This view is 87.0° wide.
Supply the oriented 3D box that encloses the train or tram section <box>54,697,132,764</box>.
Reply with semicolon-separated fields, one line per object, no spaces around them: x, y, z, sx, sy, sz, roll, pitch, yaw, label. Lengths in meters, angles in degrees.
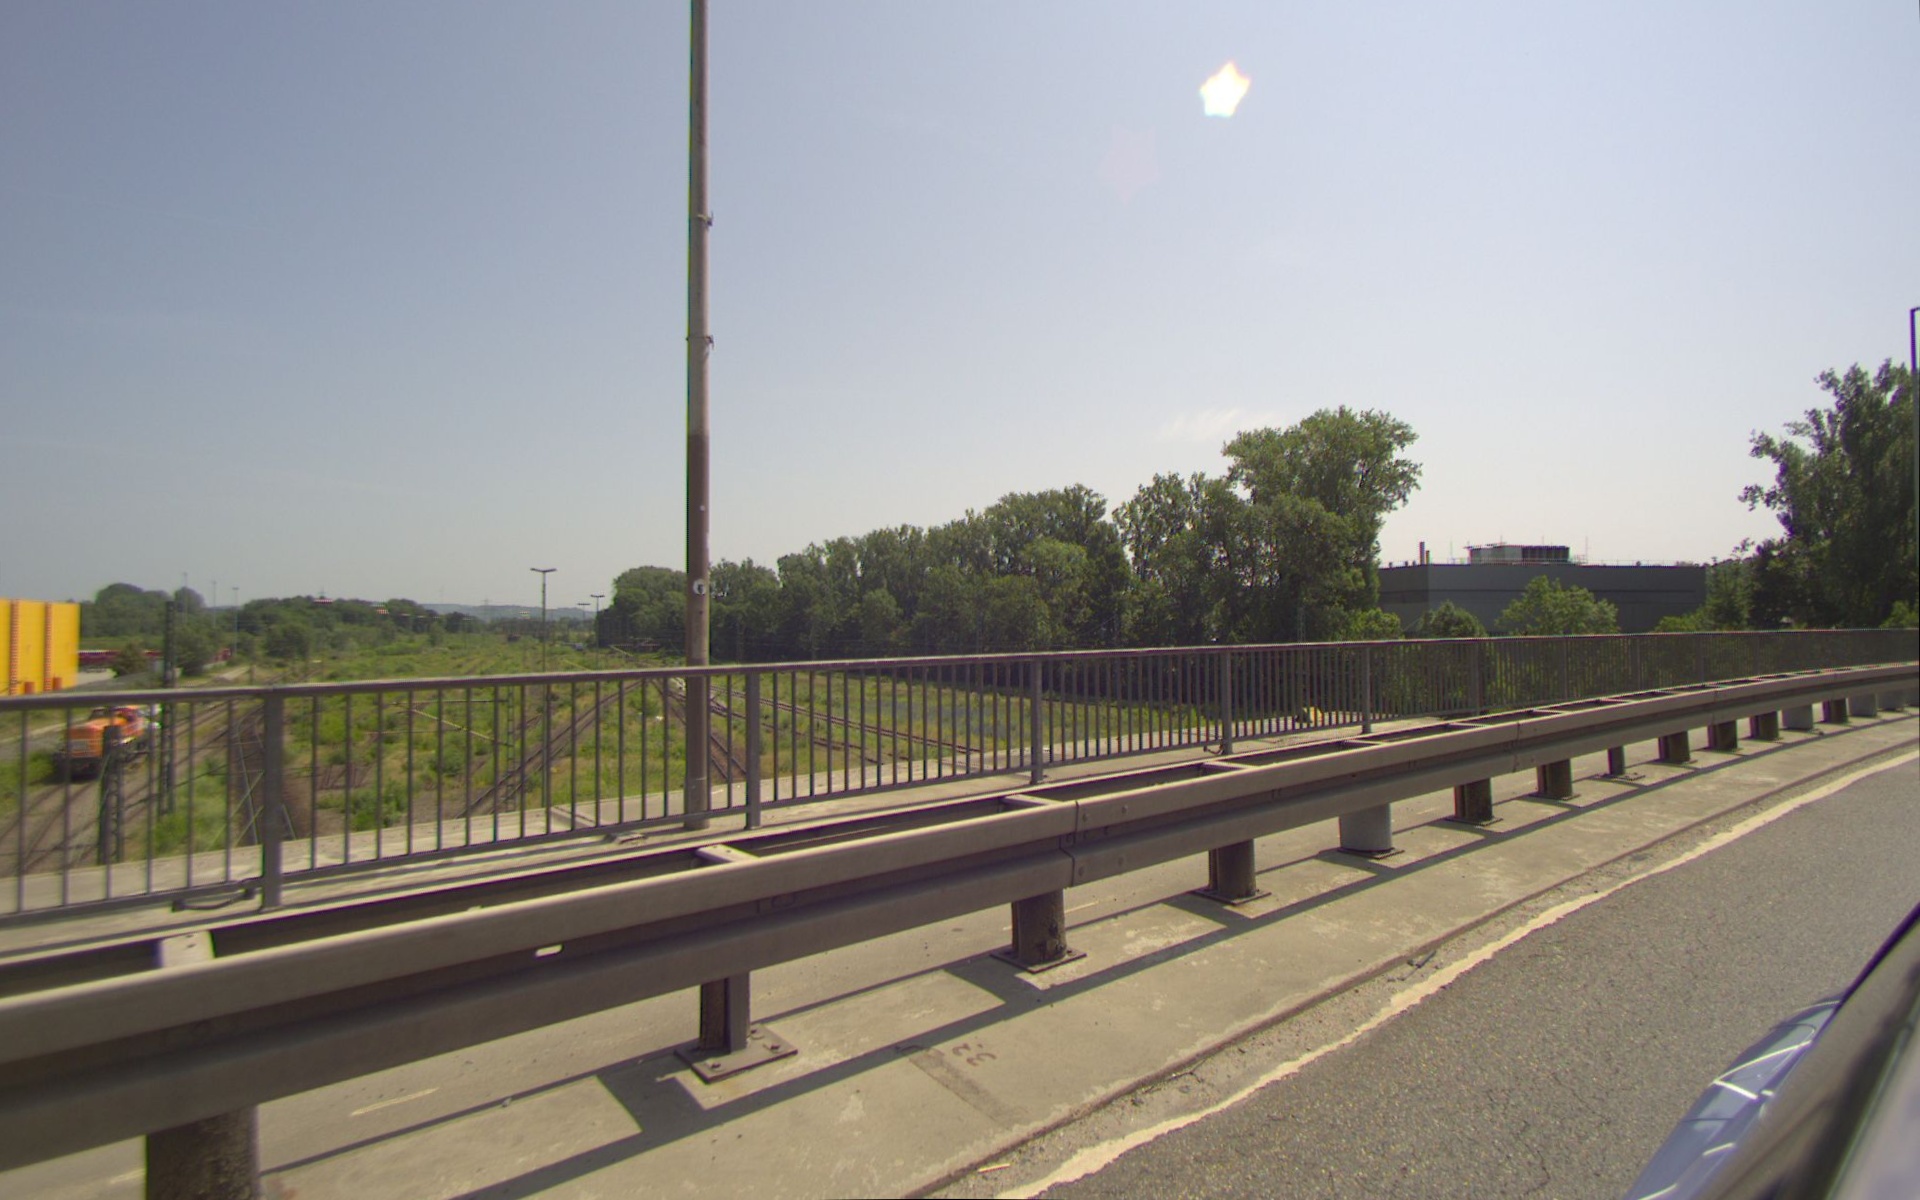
-61.666;9.096;72.284;2.195;3.738;14.007;1;-3;-33;train or tram section
